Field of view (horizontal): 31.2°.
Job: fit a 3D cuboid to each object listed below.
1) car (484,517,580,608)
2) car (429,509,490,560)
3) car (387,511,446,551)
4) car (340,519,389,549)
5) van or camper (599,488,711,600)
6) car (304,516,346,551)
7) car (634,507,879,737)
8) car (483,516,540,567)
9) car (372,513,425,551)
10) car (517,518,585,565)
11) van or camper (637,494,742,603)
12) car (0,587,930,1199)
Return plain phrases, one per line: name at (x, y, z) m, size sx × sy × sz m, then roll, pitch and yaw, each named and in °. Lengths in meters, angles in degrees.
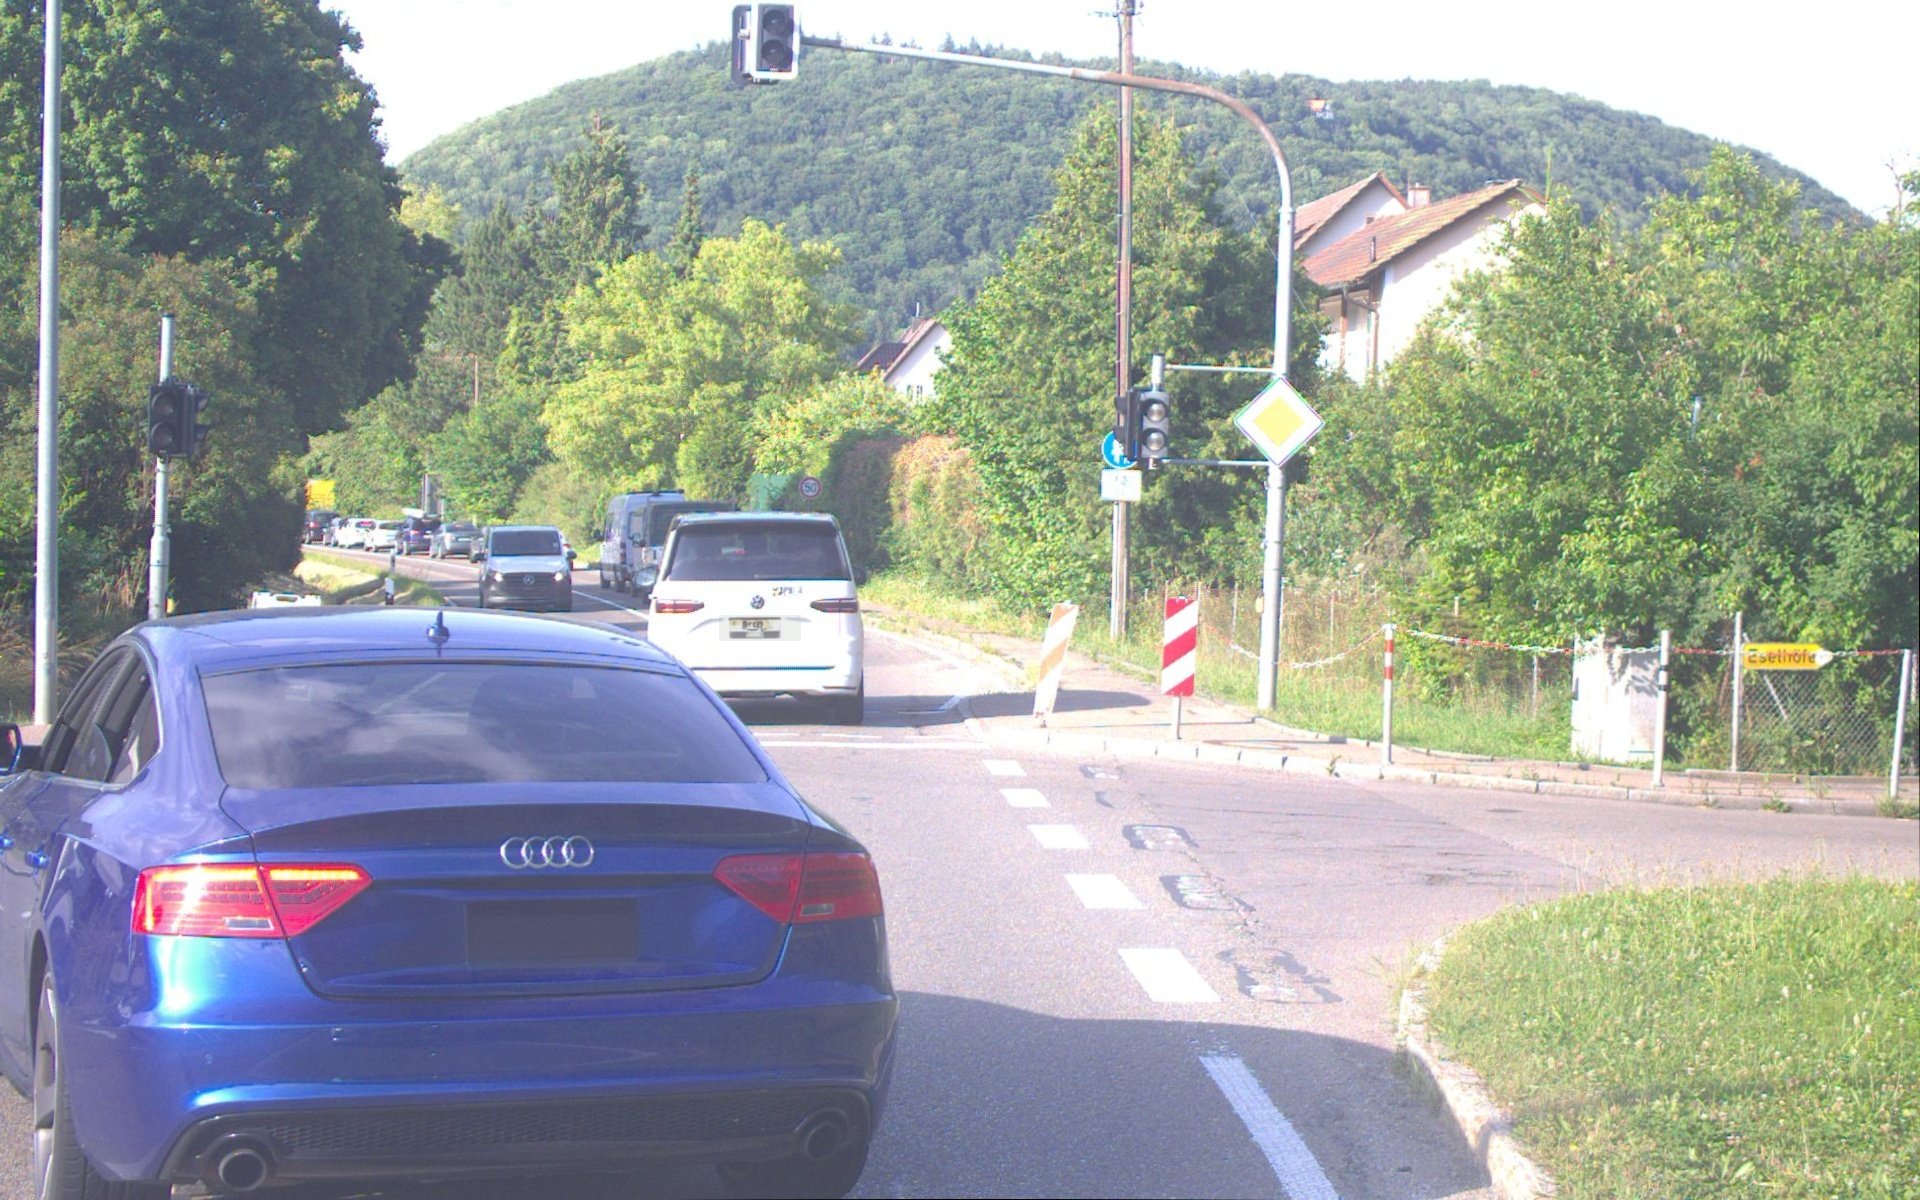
car at (-9.488, -0.857, 75.938) m, size 1.993 × 1.897 × 5.255 m, roll -1°, pitch 2°, yaw -8°
car at (-20.286, -2.670, 139.242) m, size 1.993 × 2.007 × 4.001 m, roll 0°, pitch 1°, yaw -15°
car at (-23.351, -2.978, 147.647) m, size 2.040 × 1.678 × 4.002 m, roll 0°, pitch 2°, yaw -15°
car at (-28.625, -3.180, 165.158) m, size 1.941 × 1.419 × 4.001 m, roll 0°, pitch 1°, yaw -15°
van or camper at (-8.220, -1.532, 92.078) m, size 2.414 × 2.894 × 6.133 m, roll 0°, pitch 1°, yaw -10°
car at (-32.786, -3.427, 177.408) m, size 1.771 × 1.777 × 4.001 m, roll -1°, pitch 1°, yaw -16°
car at (-1.990, 0.131, 32.143) m, size 1.993 × 1.870 × 4.872 m, roll 2°, pitch 2°, yaw -6°
car at (-16.735, -2.188, 128.187) m, size 1.796 × 1.787 × 4.001 m, roll 1°, pitch 2°, yaw -12°
car at (-25.545, -3.093, 156.261) m, size 1.941 × 1.678 × 4.001 m, roll -1°, pitch 1°, yaw -15°
car at (-13.914, -1.996, 116.776) m, size 1.819 × 1.546 × 4.001 m, roll 0°, pitch 1°, yaw -14°
van or camper at (-6.182, -1.197, 77.984) m, size 2.179 × 2.377 × 5.371 m, roll 0°, pitch 1°, yaw -6°
car at (-1.563, 0.703, 8.641) m, size 1.829 × 1.404 × 4.228 m, roll -1°, pitch 1°, yaw -17°
